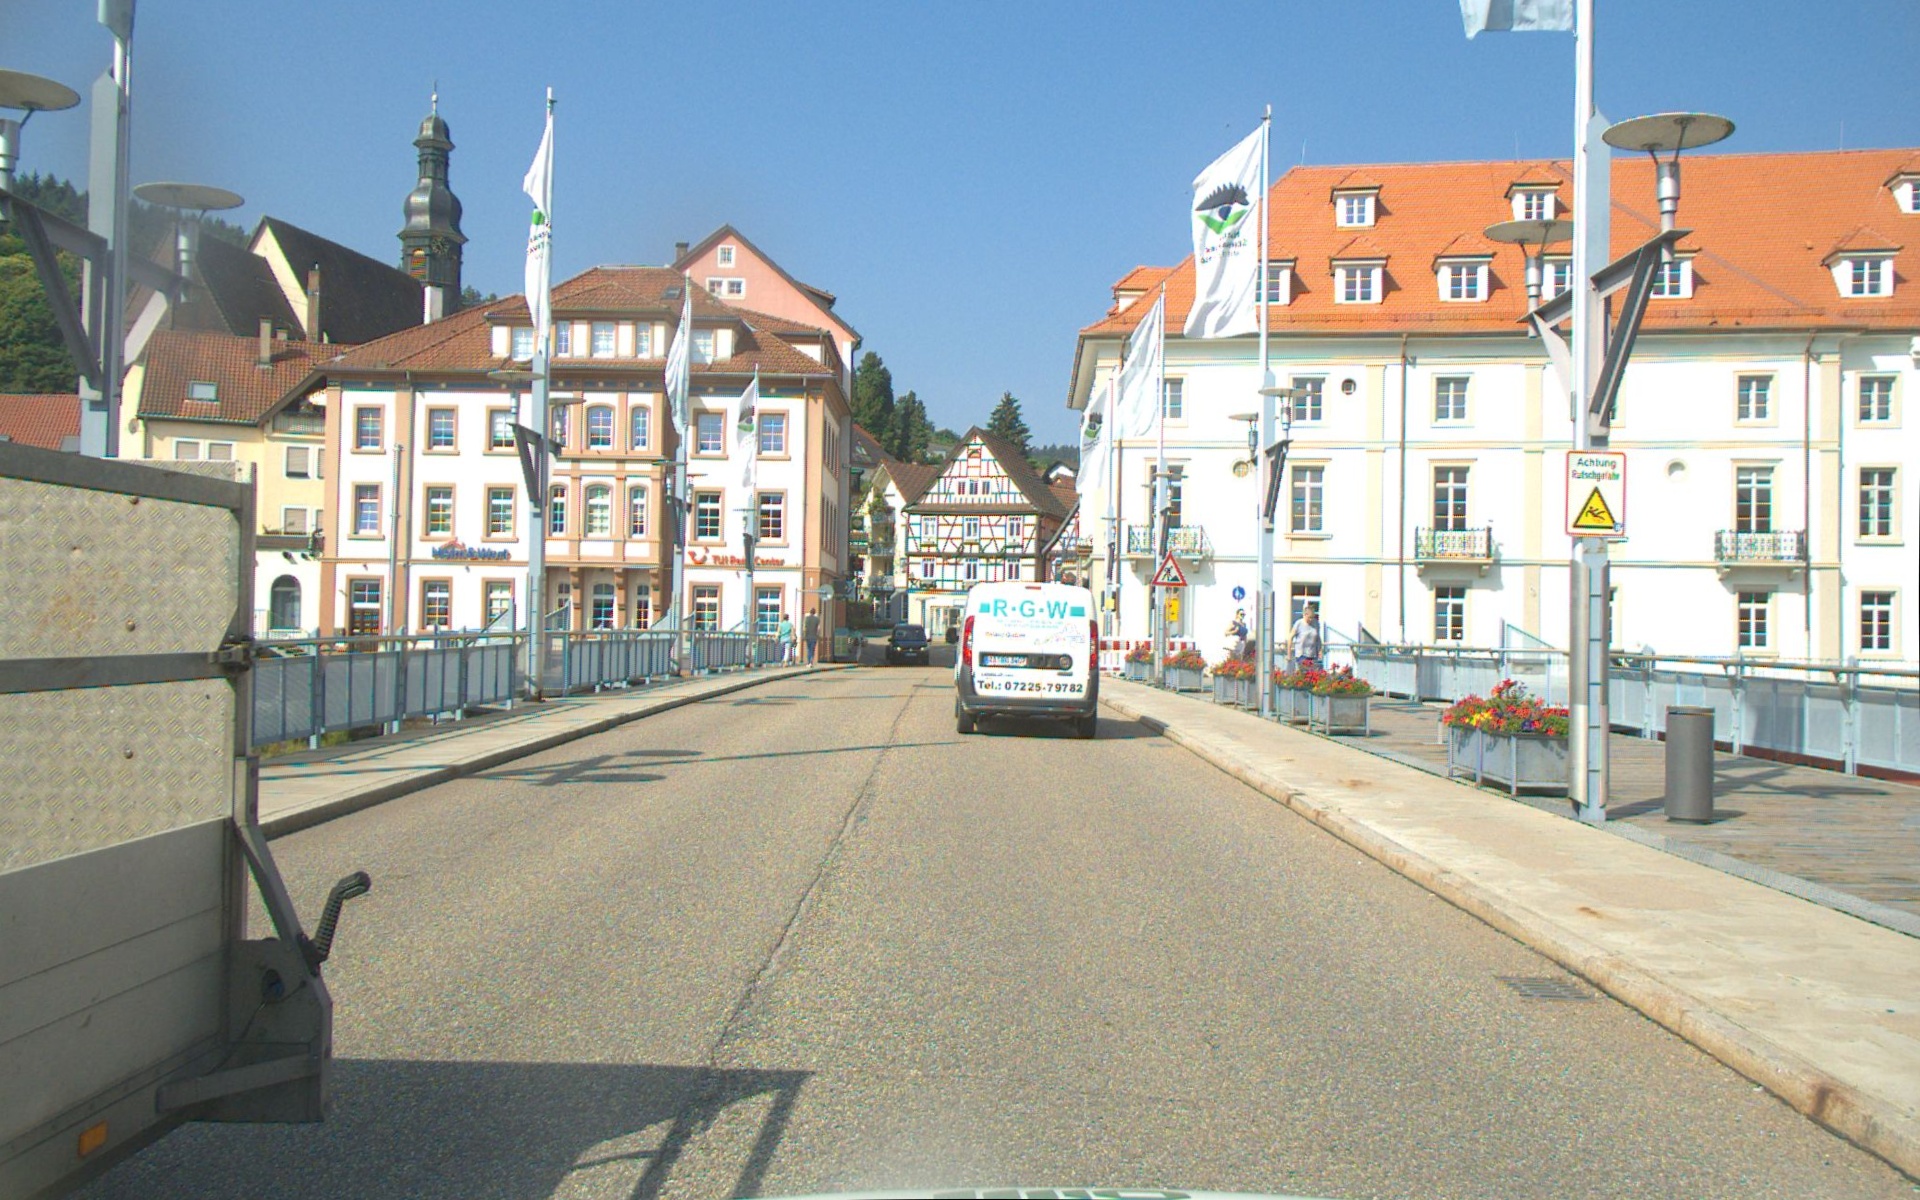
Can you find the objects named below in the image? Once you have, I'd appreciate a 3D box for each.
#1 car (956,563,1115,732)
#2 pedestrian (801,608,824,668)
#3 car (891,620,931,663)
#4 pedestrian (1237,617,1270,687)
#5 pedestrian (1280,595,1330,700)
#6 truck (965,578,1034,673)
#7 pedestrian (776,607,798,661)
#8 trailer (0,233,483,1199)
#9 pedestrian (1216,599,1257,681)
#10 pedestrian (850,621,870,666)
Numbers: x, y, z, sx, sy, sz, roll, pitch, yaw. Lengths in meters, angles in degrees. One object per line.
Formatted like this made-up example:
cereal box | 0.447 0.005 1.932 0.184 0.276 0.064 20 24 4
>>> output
car | 0.896 0.602 21.814 1.807 1.939 4.314 2 -1 0
pedestrian | -4.522 1.166 50.665 0.602 1.793 0.863 2 -1 -2
car | -2.254 1.897 76.385 1.741 1.824 4.695 2 0 -2
pedestrian | 5.318 0.940 29.997 0.443 1.266 0.625 1 -2 -5
pedestrian | 5.534 0.757 26.556 0.652 1.647 0.563 2 -1 0
truck | 1.116 0.744 48.934 1.823 2.631 4.259 2 -1 -1
pedestrian | -5.303 1.041 50.701 0.571 1.638 0.537 2 -1 0
trailer | -2.555 0.452 1.176 2.556 1.859 5.640 1 0 3
pedestrian | 5.994 0.861 35.928 0.711 1.753 0.747 2 -1 -1
pedestrian | -4.259 1.843 70.278 0.787 1.890 0.616 1 0 -1
